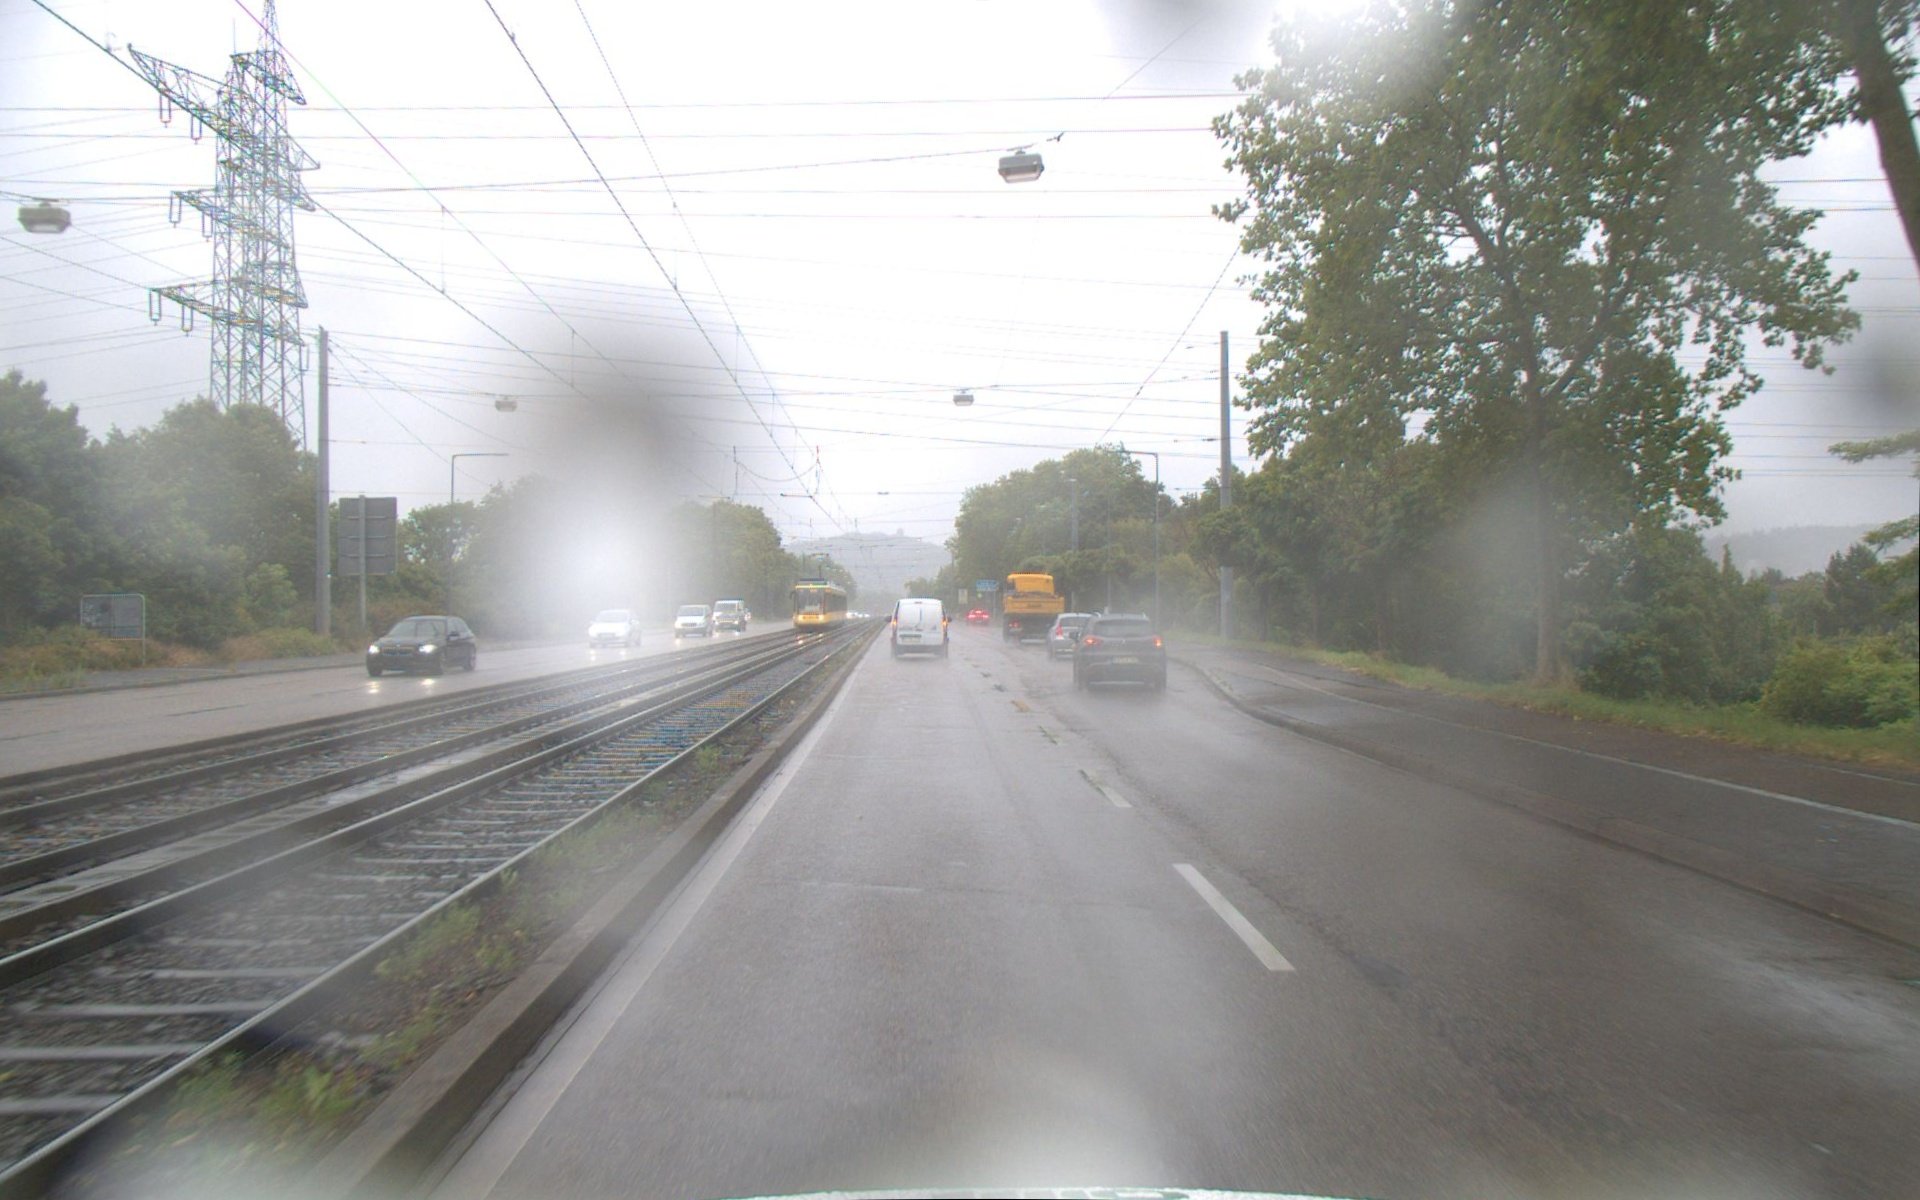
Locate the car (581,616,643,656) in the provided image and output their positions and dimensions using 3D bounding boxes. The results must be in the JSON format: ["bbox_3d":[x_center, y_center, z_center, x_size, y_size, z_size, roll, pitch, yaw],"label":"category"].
[{"bbox_3d":[-15.448,1.572,73.640,1.849,1.671,4.346,1,0,-1],"label":"car"}]

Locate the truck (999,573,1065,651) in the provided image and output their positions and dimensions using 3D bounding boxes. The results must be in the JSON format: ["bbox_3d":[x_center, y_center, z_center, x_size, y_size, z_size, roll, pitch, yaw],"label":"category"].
[{"bbox_3d":[3.167,0.530,74.219,2.504,3.314,6.931,1,0,-1],"label":"truck"}]

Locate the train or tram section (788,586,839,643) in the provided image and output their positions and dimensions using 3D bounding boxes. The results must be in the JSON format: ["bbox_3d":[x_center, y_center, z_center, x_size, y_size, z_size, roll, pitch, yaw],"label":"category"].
[{"bbox_3d":[-10.439,1.007,119.219,2.807,3.770,17.880,1,0,-3],"label":"train or tram section"}]

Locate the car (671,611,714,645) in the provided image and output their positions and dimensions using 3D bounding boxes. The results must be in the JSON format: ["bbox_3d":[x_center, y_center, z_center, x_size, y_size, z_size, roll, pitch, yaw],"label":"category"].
[{"bbox_3d":[-16.051,1.653,99.541,1.849,1.917,4.620,1,0,-1],"label":"car"}]

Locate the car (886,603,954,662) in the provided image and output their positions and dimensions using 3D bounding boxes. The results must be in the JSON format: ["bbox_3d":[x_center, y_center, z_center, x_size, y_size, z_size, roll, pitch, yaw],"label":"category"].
[{"bbox_3d":[-1.202,0.961,50.274,1.949,1.713,3.739,1,0,-1],"label":"car"}]

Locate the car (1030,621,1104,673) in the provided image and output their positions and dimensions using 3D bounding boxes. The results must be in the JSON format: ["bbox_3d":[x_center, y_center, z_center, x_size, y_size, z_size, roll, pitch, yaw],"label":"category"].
[{"bbox_3d":[3.339,1.452,52.465,1.595,1.529,4.600,1,0,-6],"label":"car"}]

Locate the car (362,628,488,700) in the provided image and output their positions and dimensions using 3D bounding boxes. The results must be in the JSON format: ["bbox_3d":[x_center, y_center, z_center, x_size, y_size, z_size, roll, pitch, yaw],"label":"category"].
[{"bbox_3d":[-13.711,1.602,42.665,1.849,1.671,4.396,1,0,-1],"label":"car"}]

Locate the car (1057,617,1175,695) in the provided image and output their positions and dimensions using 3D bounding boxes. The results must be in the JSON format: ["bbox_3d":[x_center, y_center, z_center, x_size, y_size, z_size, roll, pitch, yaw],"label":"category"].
[{"bbox_3d":[3.023,1.064,32.891,1.849,1.381,4.276,1,0,-1],"label":"car"}]

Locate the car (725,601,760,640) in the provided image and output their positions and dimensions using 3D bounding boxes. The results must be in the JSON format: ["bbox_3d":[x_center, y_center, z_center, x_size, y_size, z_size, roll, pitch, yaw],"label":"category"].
[{"bbox_3d":[-15.981,1.516,121.676,1.849,2.782,5.302,1,0,-1],"label":"car"}]
